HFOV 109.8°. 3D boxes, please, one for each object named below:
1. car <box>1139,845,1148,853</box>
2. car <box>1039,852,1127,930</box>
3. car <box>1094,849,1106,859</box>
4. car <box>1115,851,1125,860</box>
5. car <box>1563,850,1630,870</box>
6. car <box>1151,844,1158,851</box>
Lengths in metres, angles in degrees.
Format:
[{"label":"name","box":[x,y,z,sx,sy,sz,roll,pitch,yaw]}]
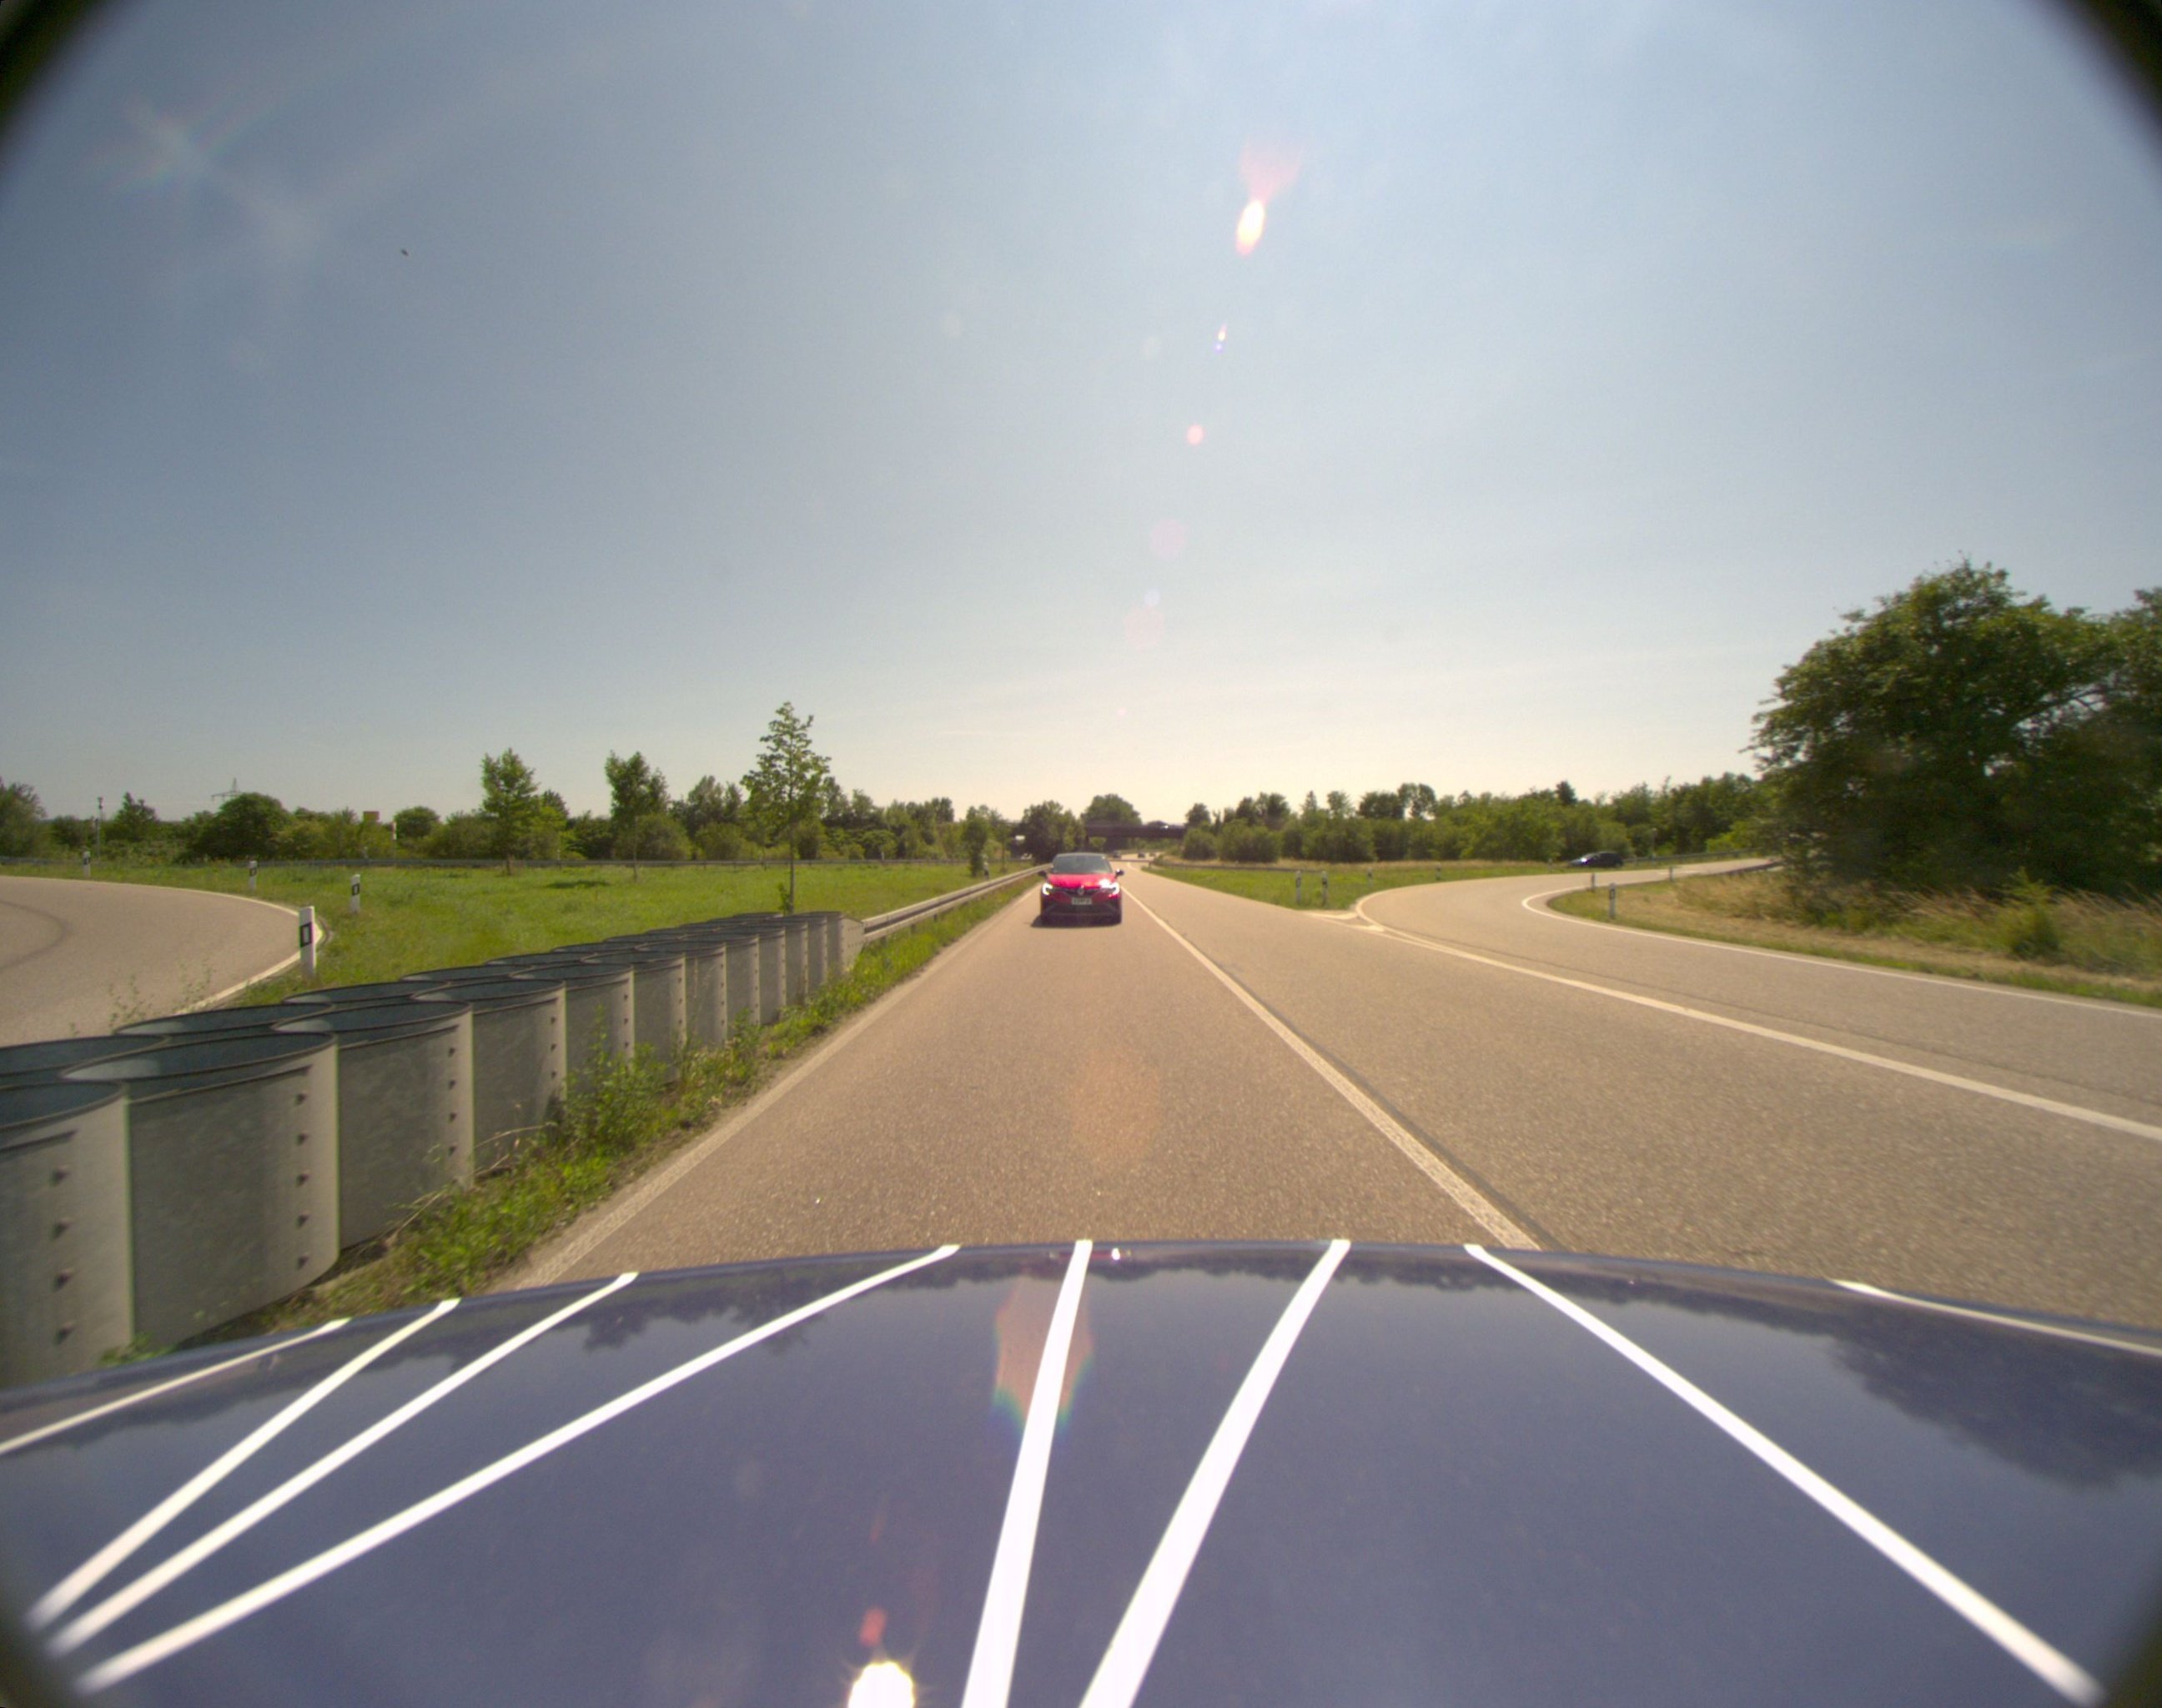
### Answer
[{"label":"car","box":[15.888,-1.186,193.983,1.997,2.002,4.002,1,1,8]},{"label":"car","box":[0.070,0.784,18.499,1.837,1.587,4.721,-1,1,1]},{"label":"car","box":[3.214,-0.024,131.611,1.998,1.696,4.000,0,1,1]},{"label":"car","box":[8.956,0.368,175.343,1.997,2.002,4.001,0,1,6]},{"label":"car","box":[41.912,0.455,61.871,4.145,1.548,1.889,1,1,4]},{"label":"car","box":[21.803,-1.839,225.113,1.997,2.002,4.002,1,1,9]}]
